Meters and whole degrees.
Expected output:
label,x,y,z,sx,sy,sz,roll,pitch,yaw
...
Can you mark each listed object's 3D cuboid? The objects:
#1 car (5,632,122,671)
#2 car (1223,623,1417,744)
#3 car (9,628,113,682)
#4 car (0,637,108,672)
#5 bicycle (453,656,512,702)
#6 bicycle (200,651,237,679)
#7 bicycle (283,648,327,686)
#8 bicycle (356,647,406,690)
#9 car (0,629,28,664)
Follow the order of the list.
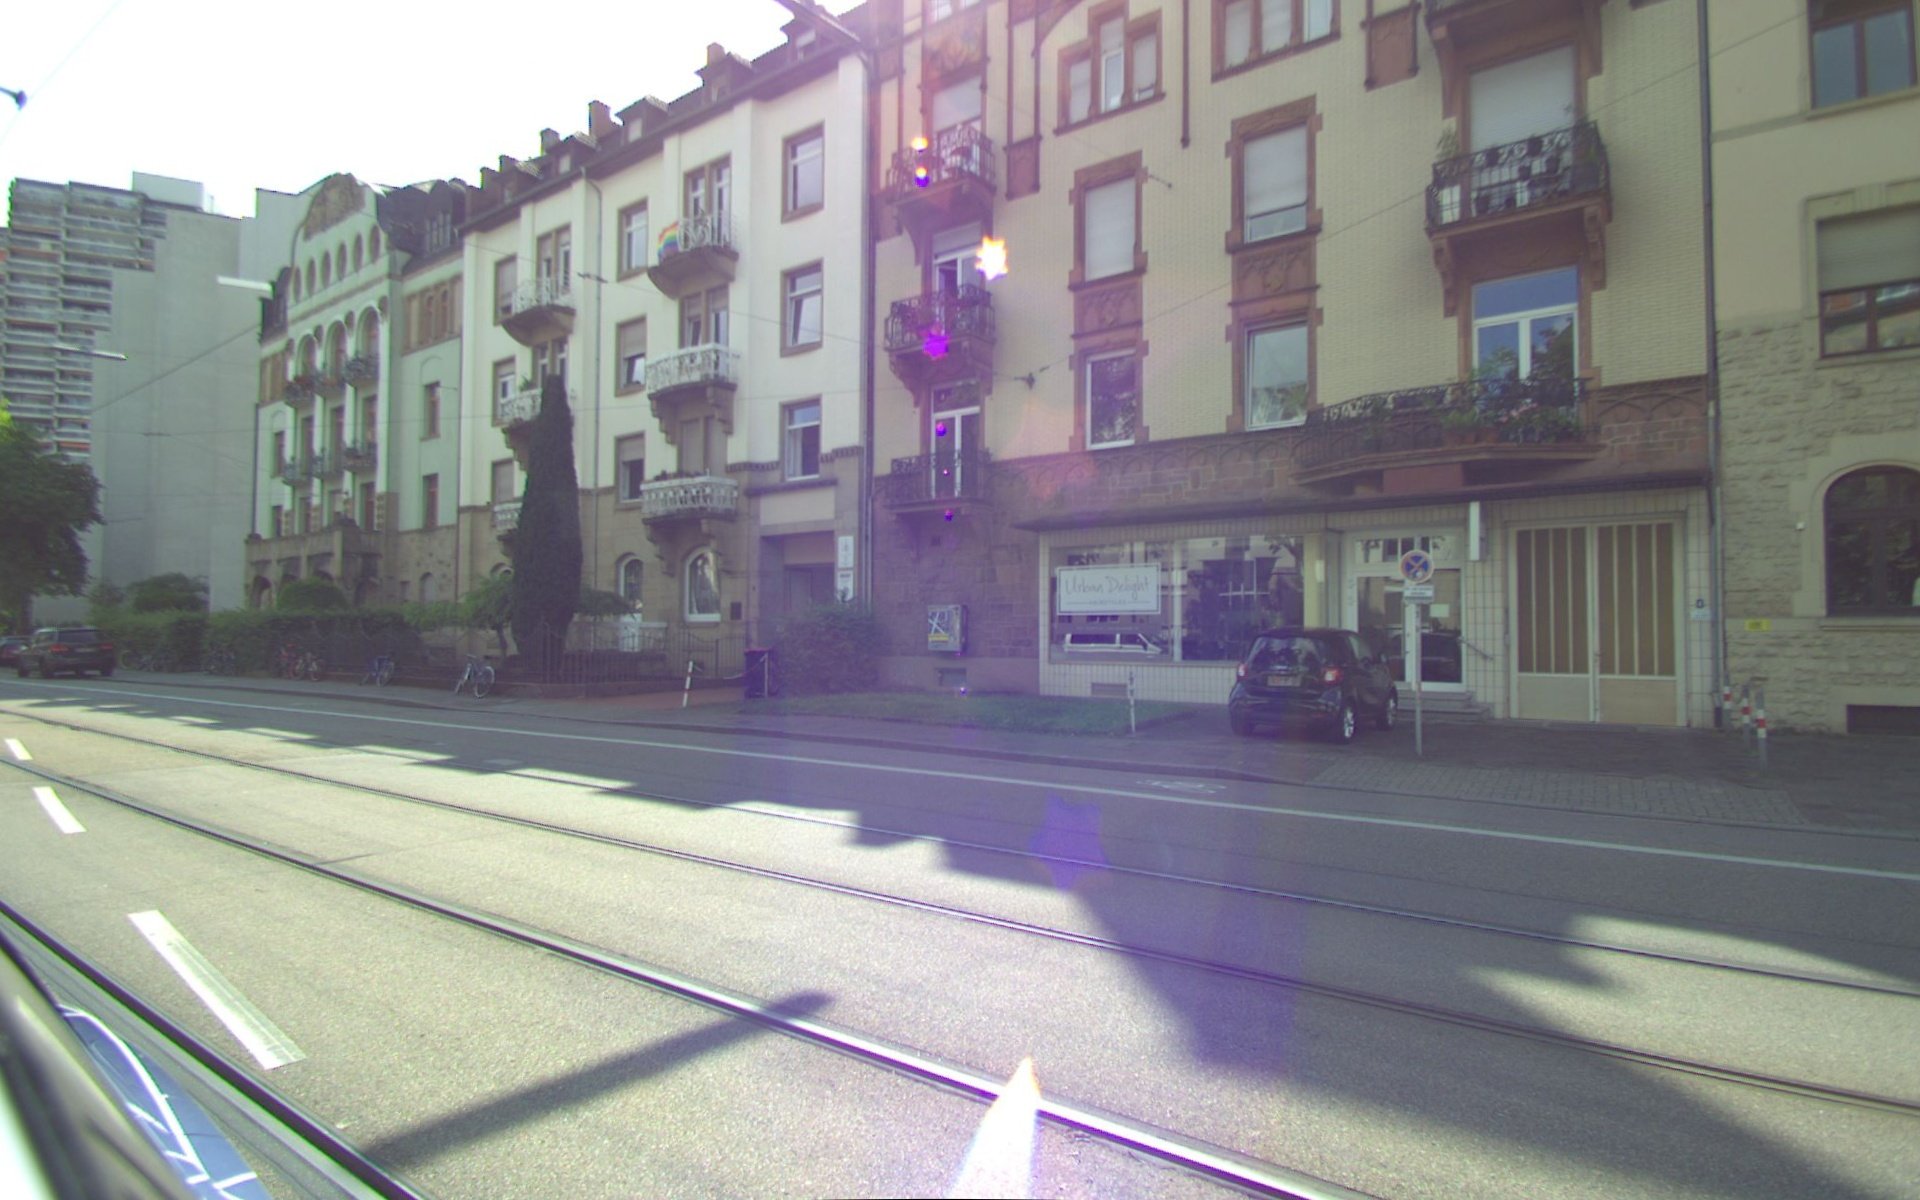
label,x,y,z,sx,sy,sz,roll,pitch,yaw
car,-39.556,2.256,44.709,1.608,1.652,3.587,-1,-3,37
car,5.409,1.133,14.989,1.704,1.497,3.411,-2,-1,38
car,-30.875,1.862,34.741,4.323,1.724,1.775,-2,-3,36
car,-41.859,2.489,46.503,1.633,1.548,3.842,-2,-3,38
bicycle,-10.969,1.789,23.212,2.068,0.913,0.517,1,-1,45
bicycle,-23.925,2.094,32.642,1.872,0.803,0.579,-1,0,42
bicycle,-18.917,1.916,29.209,1.872,0.993,0.579,-1,-2,42
bicycle,-15.202,1.784,26.553,1.872,1.037,0.532,-1,-2,42
car,-54.767,2.565,56.348,1.829,1.940,3.947,-2,-3,39
